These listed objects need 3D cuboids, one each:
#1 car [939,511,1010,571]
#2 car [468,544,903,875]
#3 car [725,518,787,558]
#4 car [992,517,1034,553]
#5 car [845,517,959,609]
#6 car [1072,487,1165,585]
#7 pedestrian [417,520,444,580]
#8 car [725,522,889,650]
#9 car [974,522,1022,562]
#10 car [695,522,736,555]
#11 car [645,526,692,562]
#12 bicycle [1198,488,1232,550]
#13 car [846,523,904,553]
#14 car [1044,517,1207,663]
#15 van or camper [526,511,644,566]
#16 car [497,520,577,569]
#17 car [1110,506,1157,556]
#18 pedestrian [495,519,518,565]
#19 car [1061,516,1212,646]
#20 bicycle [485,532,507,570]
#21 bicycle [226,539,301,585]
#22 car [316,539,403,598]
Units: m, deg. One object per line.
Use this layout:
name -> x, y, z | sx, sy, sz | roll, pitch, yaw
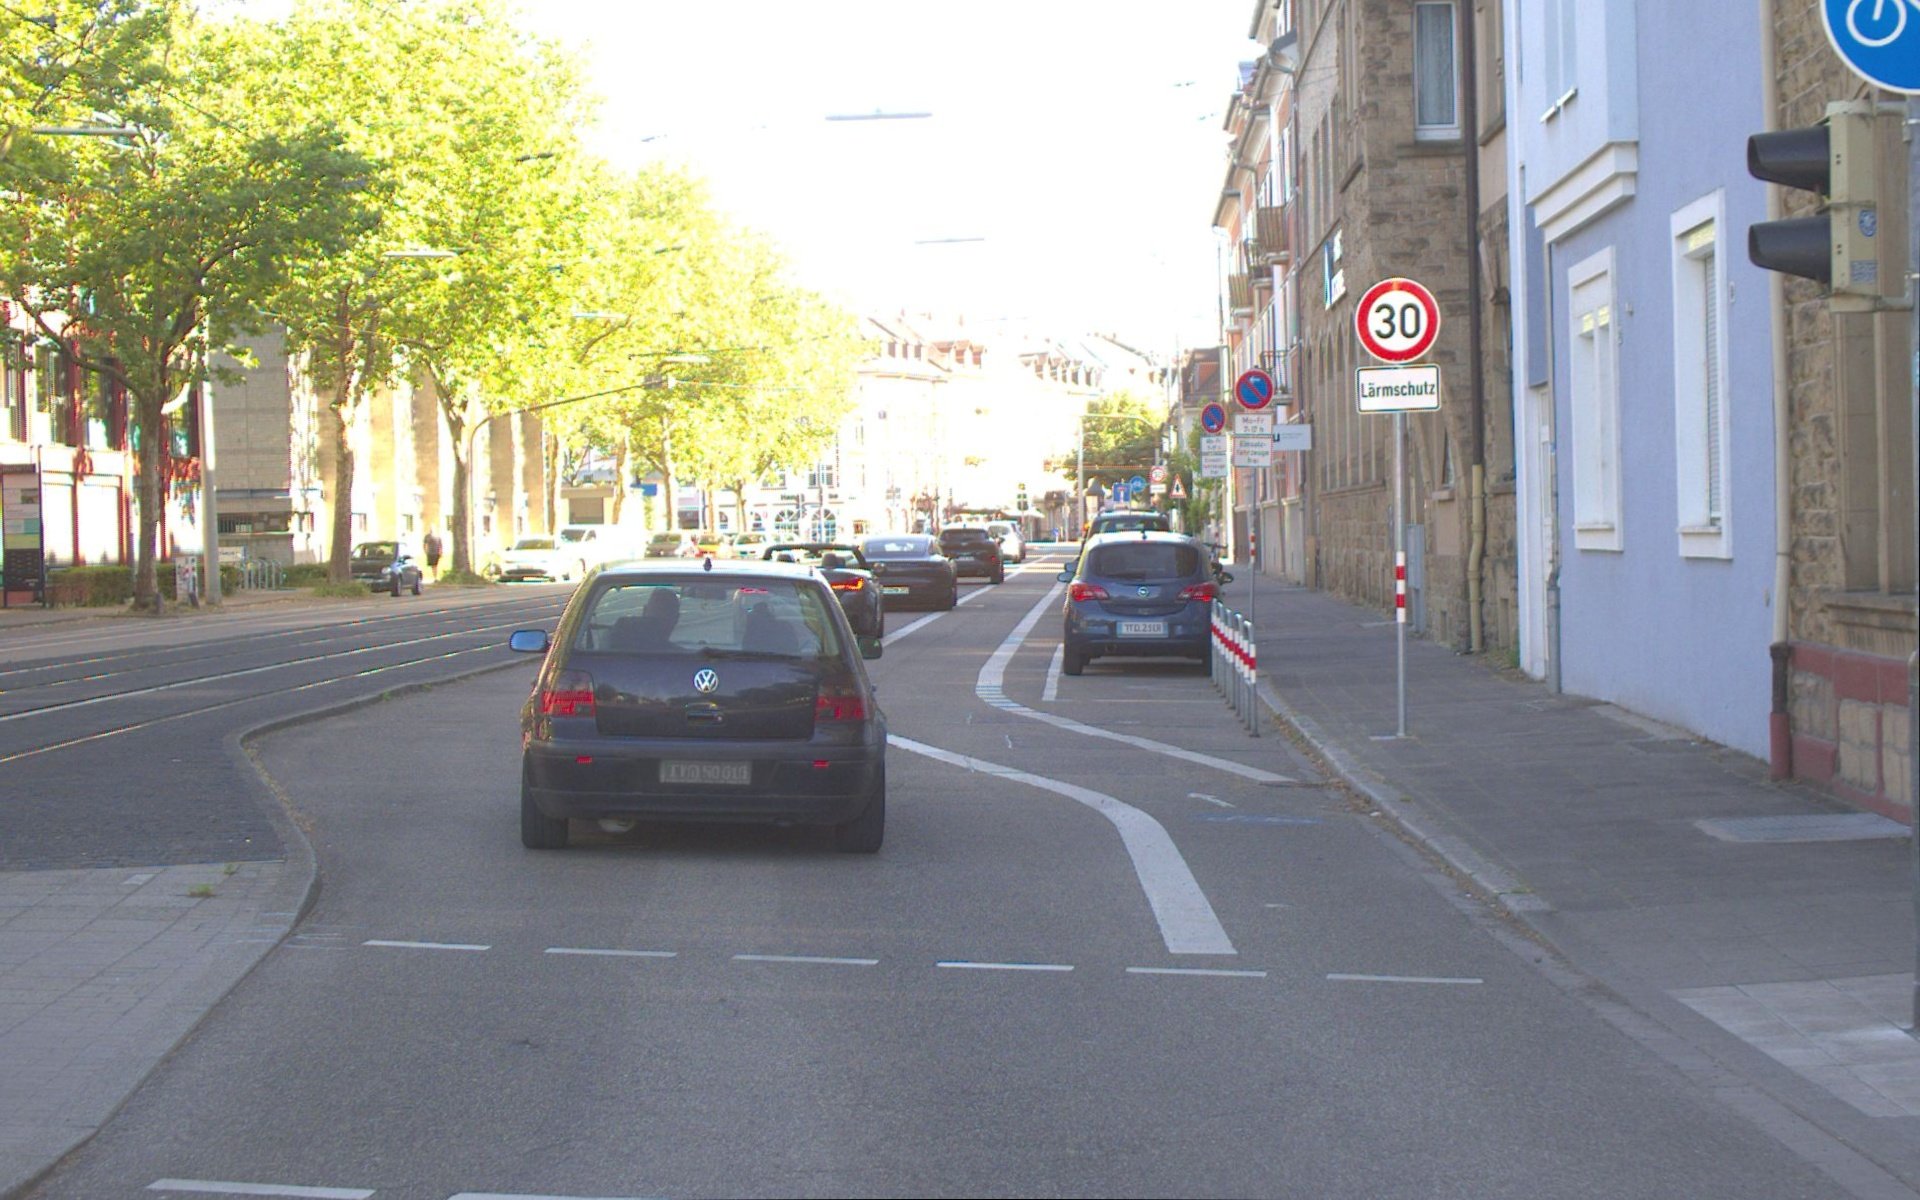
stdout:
car -> 0.381, -1.515, 87.367 | 1.636, 1.467, 3.729 | -1, 1, 3
car -> -1.252, 0.457, 17.282 | 1.748, 1.370, 4.000 | -1, 2, 1
car -> -8.363, -2.565, 141.287 | 1.753, 1.513, 4.070 | -3, 1, 8
car -> 2.242, -2.748, 145.288 | 1.636, 1.467, 3.729 | -1, 1, 3
car -> -1.013, -0.687, 61.908 | 1.749, 1.532, 3.891 | -1, 2, 3
car -> 3.128, -1.281, 67.804 | 1.753, 1.849, 4.815 | 0, 2, 3
pedestrian -> -16.593, -1.579, 107.710 | 0.784, 1.863, 0.671 | 0, 2, -12
car -> -1.972, -0.220, 45.255 | 1.749, 1.532, 3.891 | -1, 2, 3
car -> 1.457, -2.222, 130.429 | 1.636, 1.467, 3.729 | -1, 1, 3
car -> -11.894, -2.992, 167.146 | 1.570, 1.528, 3.572 | -1, 1, 3
car -> -12.764, -2.425, 150.559 | 1.570, 1.528, 3.572 | -1, 1, 3
bicycle -> 4.853, -1.552, 65.444 | 0.515, 1.136, 2.259 | -3, 2, 2
car -> -5.941, -4.315, 239.569 | 3.986, 2.006, 2.000 | 0, 2, -4
car -> 1.759, -0.152, 37.015 | 1.655, 1.477, 4.000 | 0, 1, 2
van or camper -> -13.751, -2.293, 126.349 | 2.062, 1.943, 5.184 | 1, 2, 23
car -> -14.251, -1.882, 116.058 | 2.012, 1.567, 4.694 | 1, 2, 1
car -> 6.593, -2.643, 131.030 | 1.759, 1.831, 3.547 | 1, 2, 3
pedestrian -> -18.120, -2.308, 137.460 | 0.796, 1.814, 0.670 | 1, 2, 3
car -> 2.220, -0.275, 42.539 | 1.753, 1.495, 4.196 | 1, 2, 4
bicycle -> -14.922, -1.578, 110.510 | 0.581, 1.204, 1.654 | 0, 2, -3
bicycle -> -19.957, -1.088, 98.511 | 2.008, 1.274, 0.664 | 0, 2, 3
car -> -15.922, -0.822, 91.255 | 1.507, 1.449, 3.463 | -1, -1, 3
